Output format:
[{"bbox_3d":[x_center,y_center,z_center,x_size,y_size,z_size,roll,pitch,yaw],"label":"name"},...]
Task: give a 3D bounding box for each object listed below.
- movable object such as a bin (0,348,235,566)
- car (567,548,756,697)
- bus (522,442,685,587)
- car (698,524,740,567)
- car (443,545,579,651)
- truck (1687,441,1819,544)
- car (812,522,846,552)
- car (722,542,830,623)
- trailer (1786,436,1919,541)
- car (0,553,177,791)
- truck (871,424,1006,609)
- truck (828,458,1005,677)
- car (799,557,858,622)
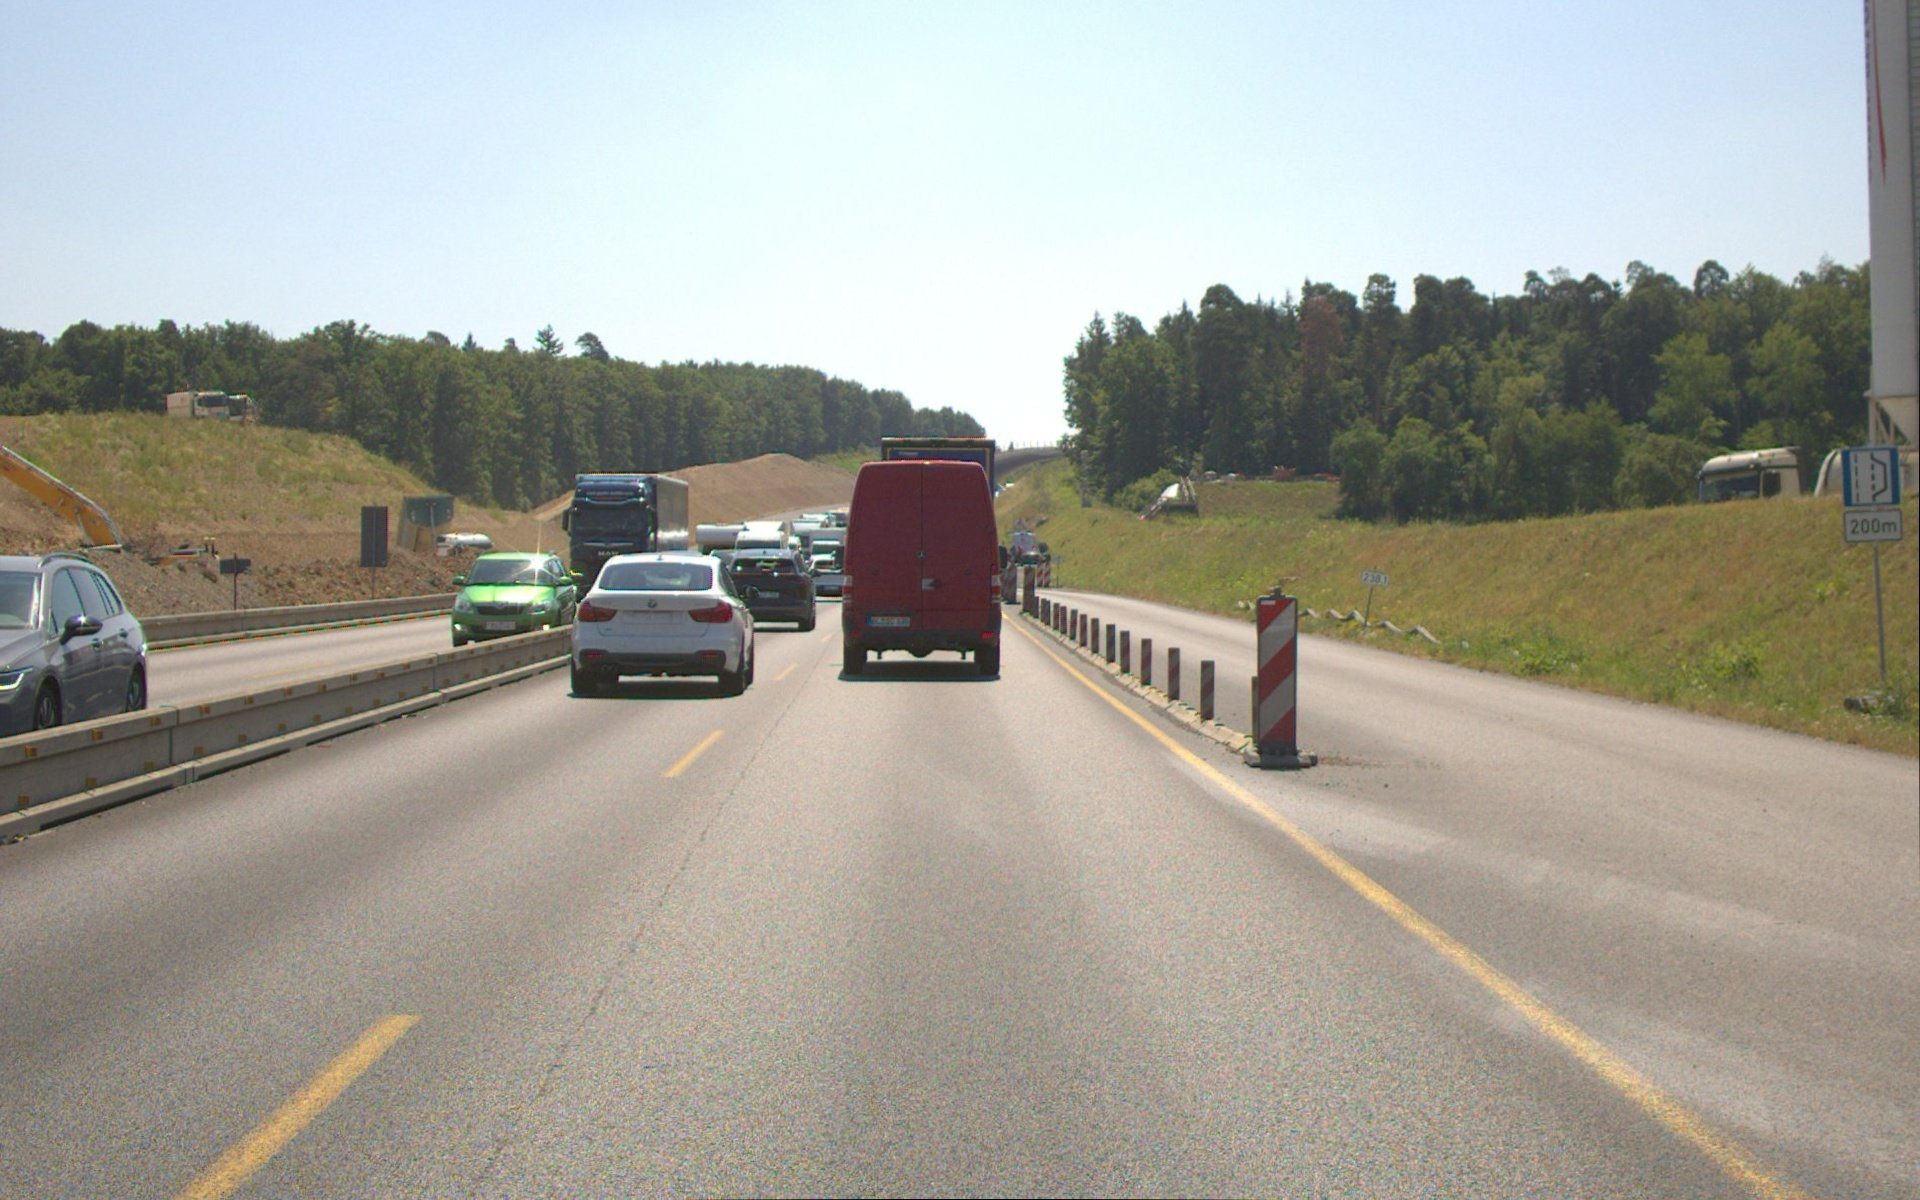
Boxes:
[{"bbox_3d":[-34.279,-4.723,116.185,18.710,7.206,3.616,-1,1,-2],"label":"movable object such as a bin"},{"bbox_3d":[-3.244,0.199,38.119,1.795,1.529,5.074,0,1,-2],"label":"car"},{"bbox_3d":[-11.650,-2.781,114.378,3.942,4.400,17.202,-1,1,-1],"label":"bus"},{"bbox_3d":[-11.557,-2.614,164.742,1.763,2.007,3.827,-1,1,-1],"label":"car"},{"bbox_3d":[-7.013,-0.060,53.983,1.602,1.574,4.168,-1,1,0],"label":"car"},{"bbox_3d":[24.763,-3.312,107.127,2.899,3.102,6.004,0,1,24],"label":"truck"},{"bbox_3d":[-8.225,-3.972,216.661,1.993,1.897,4.000,-1,1,0],"label":"car"},{"bbox_3d":[-3.591,-0.366,67.683,1.795,1.529,3.931,-1,1,2],"label":"car"},{"bbox_3d":[30.994,-3.519,108.589,8.994,3.218,3.332,-1,1,-15],"label":"trailer"},{"bbox_3d":[-6.825,0.418,23.808,1.786,1.471,4.524,0,1,0],"label":"car"},{"bbox_3d":[-0.461,-1.945,81.685,3.015,4.138,8.272,-1,1,0],"label":"truck"},{"bbox_3d":[-0.480,-0.444,44.765,2.111,2.624,6.484,-1,1,1],"label":"truck"},{"bbox_3d":[-4.187,-0.360,110.212,1.763,2.007,3.827,-1,1,-1],"label":"car"}]
